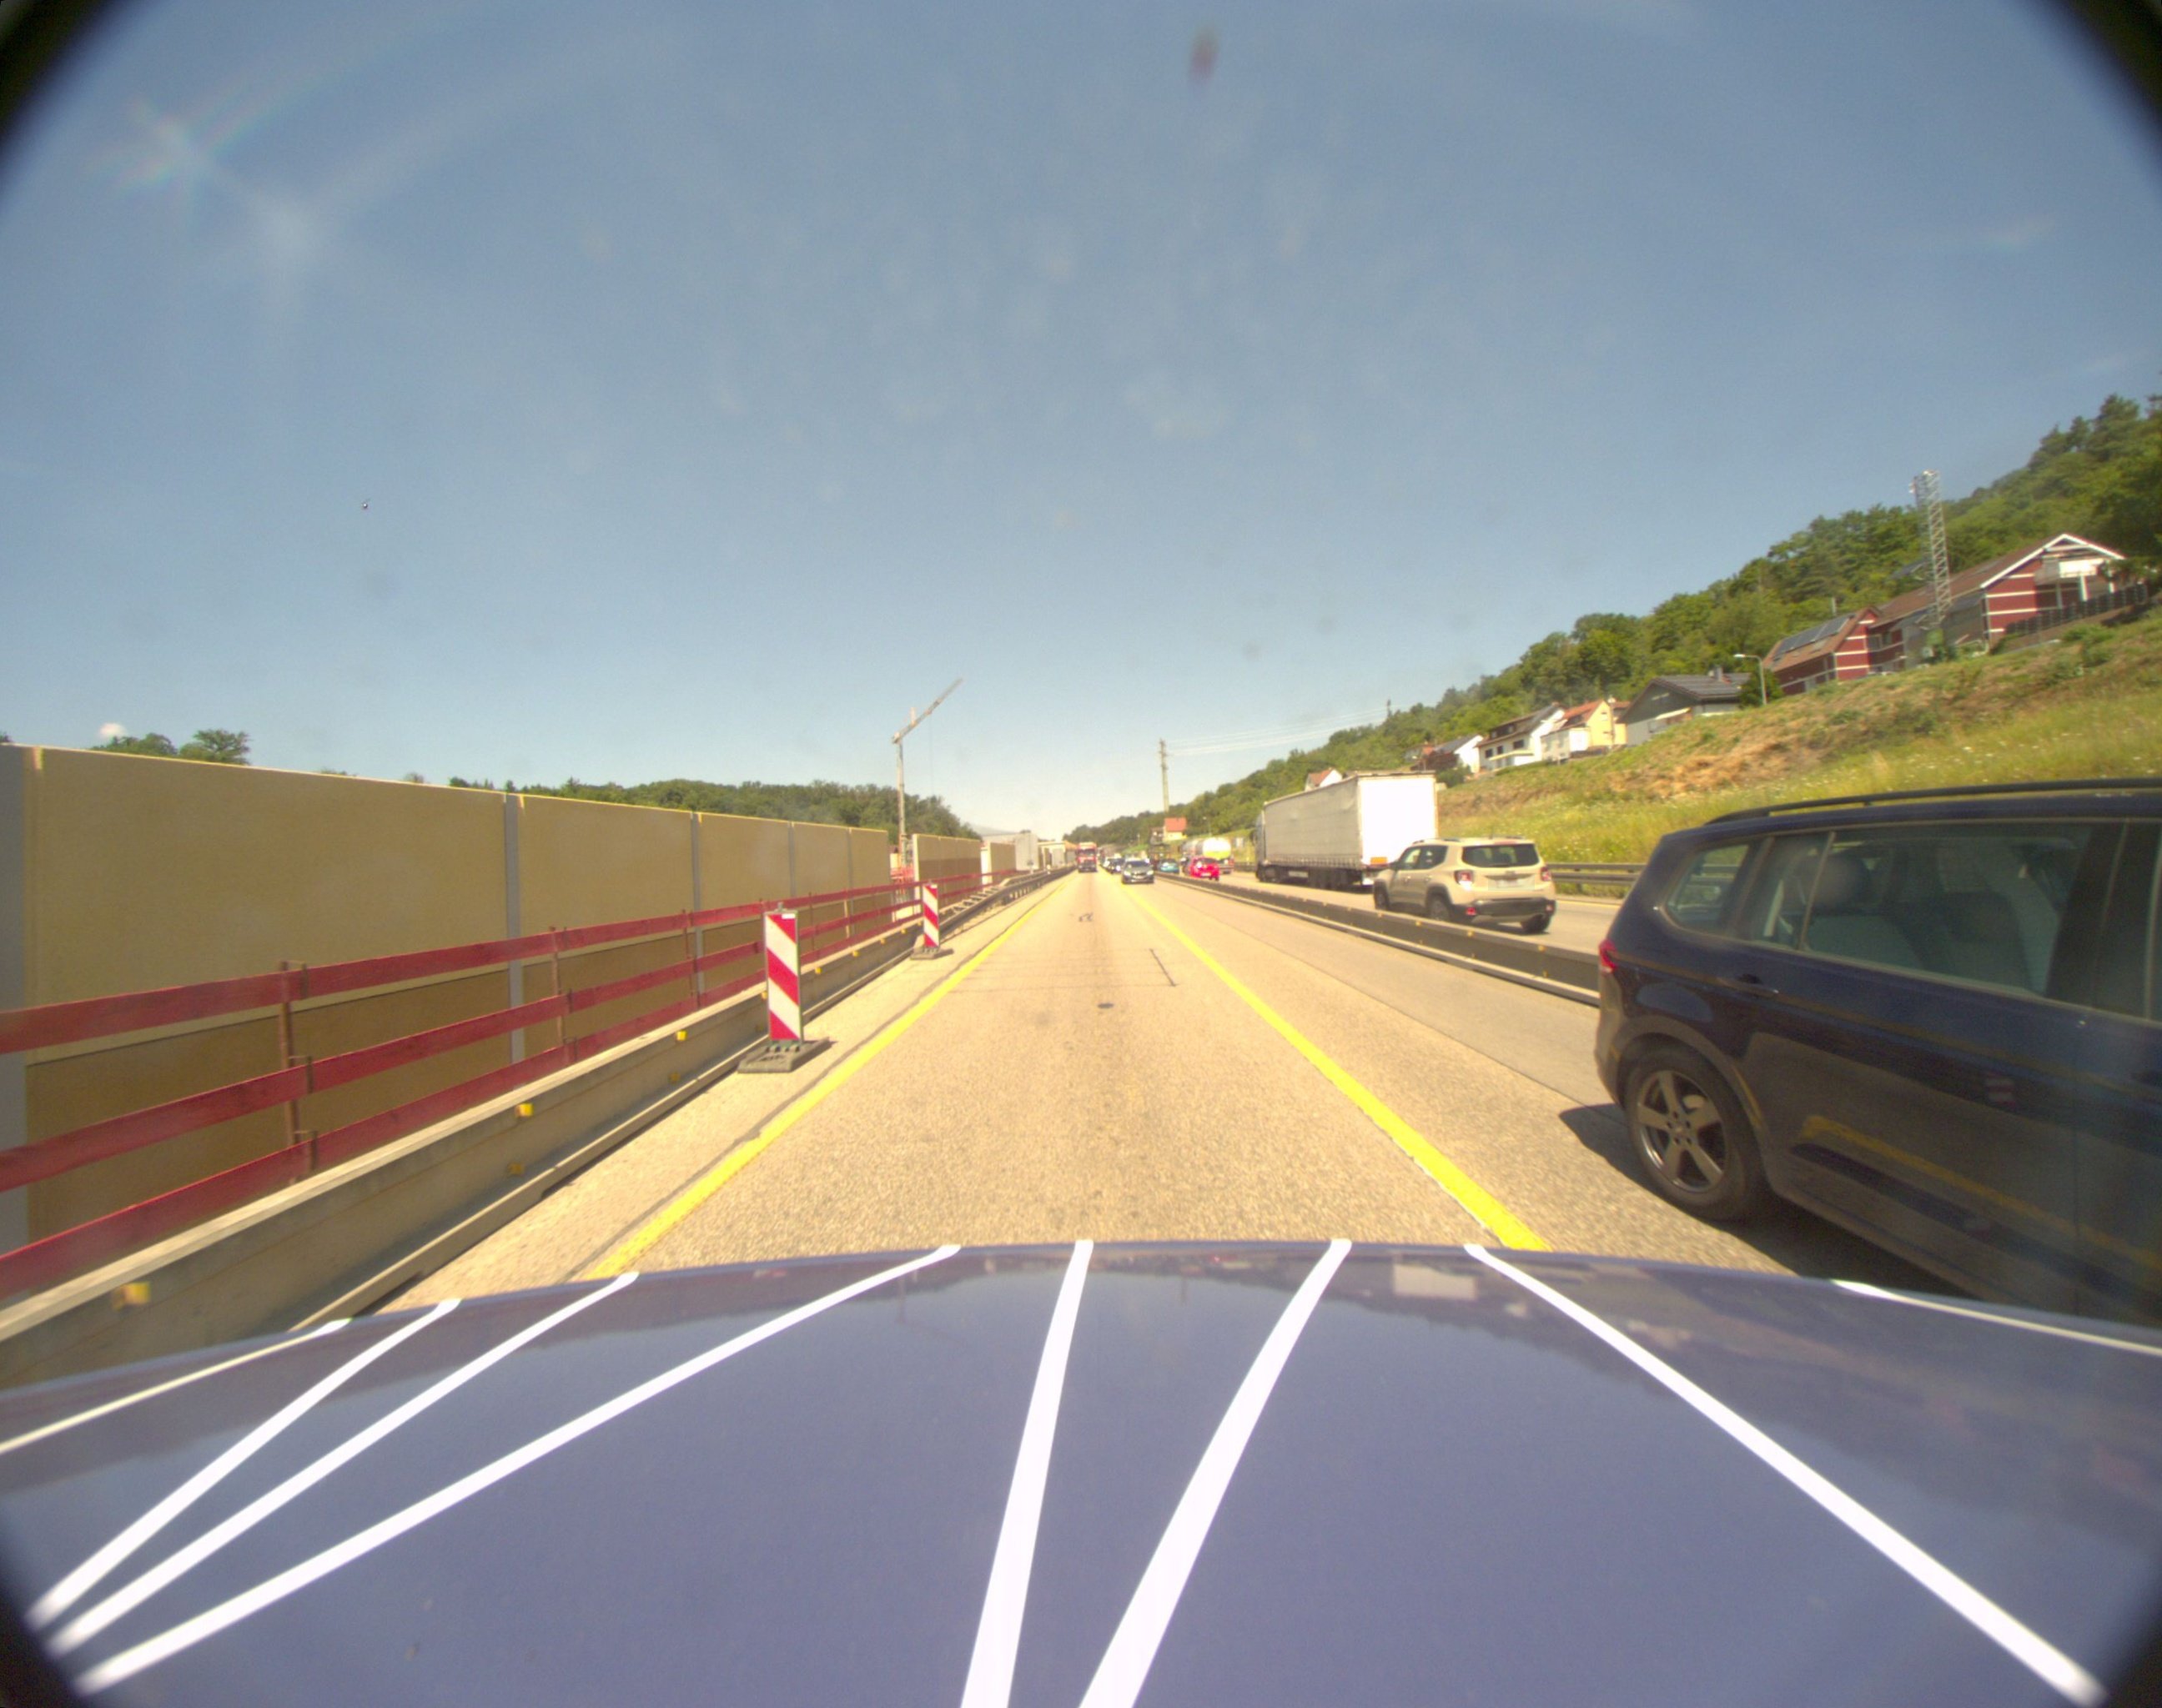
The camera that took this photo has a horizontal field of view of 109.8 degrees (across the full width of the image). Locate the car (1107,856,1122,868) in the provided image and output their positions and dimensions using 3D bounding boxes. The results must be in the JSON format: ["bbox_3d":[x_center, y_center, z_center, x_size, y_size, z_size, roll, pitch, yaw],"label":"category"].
[{"bbox_3d":[4.259,1.063,97.205,1.780,1.485,4.336,-2,-1,1],"label":"car"}]

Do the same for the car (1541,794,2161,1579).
[{"bbox_3d":[3.211,0.690,1.509,1.780,1.708,4.653,-2,-1,1],"label":"car"}]

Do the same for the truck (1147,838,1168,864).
[{"bbox_3d":[12.338,-0.469,122.515,2.902,3.915,4.178,-2,0,1],"label":"truck"}]

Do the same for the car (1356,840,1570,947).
[{"bbox_3d":[6.885,0.618,14.314,1.837,1.656,4.414,-2,0,1],"label":"car"}]

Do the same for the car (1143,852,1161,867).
[{"bbox_3d":[8.319,0.678,88.904,1.722,1.625,4.499,-2,0,1],"label":"car"}]

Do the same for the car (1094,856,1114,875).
[{"bbox_3d":[2.232,1.131,72.866,1.780,1.682,4.336,-2,-1,1],"label":"car"}]

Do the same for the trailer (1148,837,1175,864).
[{"bbox_3d":[12.261,-0.447,116.477,2.920,3.915,10.527,-2,0,1],"label":"trailer"}]

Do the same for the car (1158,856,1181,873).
[{"bbox_3d":[7.861,0.905,67.724,1.670,1.386,3.905,-2,0,1],"label":"car"}]

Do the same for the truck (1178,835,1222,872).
[{"bbox_3d":[11.046,-0.043,71.328,2.733,3.124,8.960,-2,0,1],"label":"truck"}]

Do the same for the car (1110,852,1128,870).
[{"bbox_3d":[3.934,0.748,79.180,1.780,1.727,4.336,-2,-1,1],"label":"car"}]

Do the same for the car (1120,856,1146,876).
[{"bbox_3d":[4.012,0.920,59.362,1.780,1.447,4.336,-2,-1,1],"label":"car"}]

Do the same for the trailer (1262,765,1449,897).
[{"bbox_3d":[10.523,-0.722,31.529,2.793,4.157,13.979,-2,0,1],"label":"trailer"}]

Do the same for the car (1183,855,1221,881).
[{"bbox_3d":[7.289,0.812,46.053,1.674,1.457,4.000,-2,0,1],"label":"car"}]

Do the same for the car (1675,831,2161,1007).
[{"bbox_3d":[9.934,0.550,9.074,1.998,1.498,4.718,-3,0,1],"label":"car"}]

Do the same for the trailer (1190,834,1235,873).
[{"bbox_3d":[10.938,-0.009,63.612,2.619,2.983,6.370,-2,0,1],"label":"trailer"}]

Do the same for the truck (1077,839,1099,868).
[{"bbox_3d":[1.030,-0.045,104.186,2.605,3.704,10.537,-2,-1,2],"label":"truck"}]

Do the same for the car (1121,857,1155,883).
[{"bbox_3d":[3.375,0.945,45.442,1.780,1.447,4.336,-2,-1,1],"label":"car"}]

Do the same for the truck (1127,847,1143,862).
[{"bbox_3d":[13.320,0.143,189.648,2.769,3.303,15.937,-2,0,0],"label":"truck"}]

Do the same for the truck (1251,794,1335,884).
[{"bbox_3d":[10.623,-0.692,38.613,2.752,4.157,5.288,-2,0,1],"label":"truck"}]
